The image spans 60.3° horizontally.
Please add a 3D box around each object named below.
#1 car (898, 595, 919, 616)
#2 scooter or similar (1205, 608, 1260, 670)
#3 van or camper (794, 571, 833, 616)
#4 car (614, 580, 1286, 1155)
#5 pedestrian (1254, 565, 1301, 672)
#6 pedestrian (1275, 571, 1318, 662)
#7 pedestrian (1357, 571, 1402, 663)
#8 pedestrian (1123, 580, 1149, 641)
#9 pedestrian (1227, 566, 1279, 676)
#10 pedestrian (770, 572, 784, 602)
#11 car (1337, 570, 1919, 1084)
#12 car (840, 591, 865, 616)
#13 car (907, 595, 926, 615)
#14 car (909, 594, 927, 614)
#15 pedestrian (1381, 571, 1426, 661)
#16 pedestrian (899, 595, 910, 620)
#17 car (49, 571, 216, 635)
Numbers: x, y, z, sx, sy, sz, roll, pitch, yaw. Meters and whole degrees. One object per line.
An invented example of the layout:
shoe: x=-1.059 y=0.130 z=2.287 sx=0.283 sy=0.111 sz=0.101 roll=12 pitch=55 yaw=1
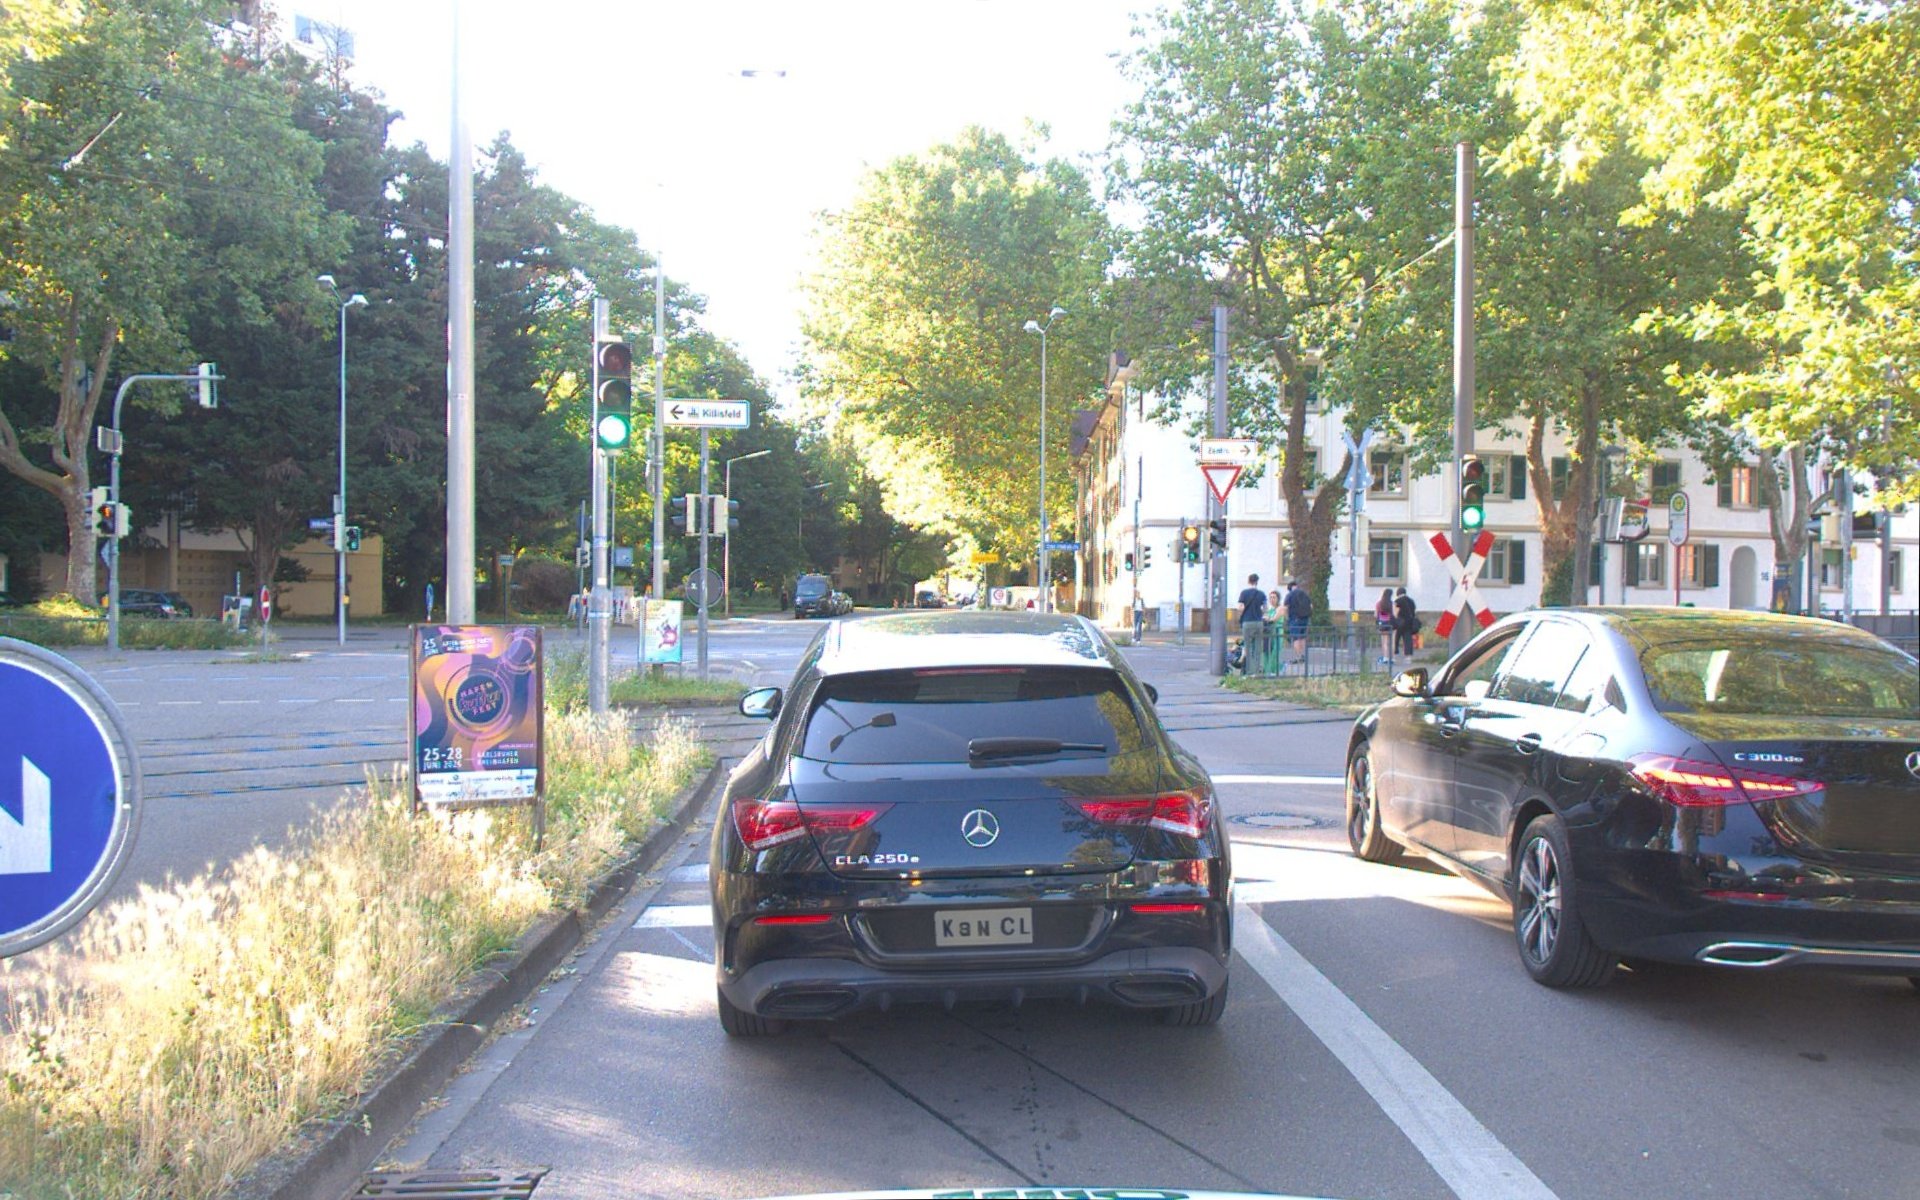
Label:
car: x=-4.522 y=0.503 z=145.454 sx=1.698 sy=1.796 sz=4.018 roll=1 pitch=0 yaw=-1
scooter or similar: x=5.071 y=0.713 z=30.767 sx=0.812 sy=1.124 sz=0.808 roll=1 pitch=-1 yaw=-6
van or camper: x=-8.789 y=-0.383 z=99.578 sx=1.953 sy=2.586 sz=4.650 roll=1 pitch=0 yaw=-1
car: x=-0.010 y=0.726 z=6.619 sx=1.851 sy=1.475 sz=4.001 roll=1 pitch=2 yaw=0
pedestrian: x=5.885 y=0.335 z=30.722 sx=0.669 sy=1.951 sz=0.706 roll=1 pitch=-1 yaw=-5
pedestrian: x=7.312 y=0.351 z=35.955 sx=0.691 sy=1.951 sz=0.838 roll=1 pitch=-1 yaw=-4
pedestrian: x=9.067 y=0.365 z=35.767 sx=0.691 sy=1.951 sz=0.838 roll=1 pitch=-1 yaw=-4
pedestrian: x=5.713 y=0.343 z=53.741 sx=0.691 sy=1.951 sz=0.838 roll=1 pitch=-1 yaw=-4
pedestrian: x=5.289 y=0.374 z=29.881 sx=0.693 sy=1.951 sz=0.682 roll=1 pitch=-1 yaw=-16
pedestrian: x=-11.959 y=-0.830 z=108.126 sx=0.690 sy=1.951 sz=0.839 roll=1 pitch=-1 yaw=5
car: x=3.137 y=0.687 z=7.378 sx=1.851 sy=1.516 sz=4.382 roll=1 pitch=2 yaw=0
car: x=-8.174 y=0.276 z=126.241 sx=1.698 sy=1.796 sz=3.970 roll=1 pitch=0 yaw=-1
car: x=-3.947 y=0.477 z=150.283 sx=1.698 sy=1.796 sz=4.018 roll=1 pitch=0 yaw=-1
car: x=-3.995 y=0.375 z=158.367 sx=1.698 sy=1.796 sz=4.018 roll=1 pitch=0 yaw=-1
pedestrian: x=9.857 y=0.353 z=36.779 sx=0.691 sy=1.951 sz=0.838 roll=1 pitch=-1 yaw=-4
pedestrian: x=-4.359 y=0.592 z=129.918 sx=0.692 sy=1.951 sz=0.837 roll=1 pitch=-1 yaw=-11
car: x=-24.378 y=0.086 z=48.816 sx=3.902 sy=1.805 sz=2.001 roll=1 pitch=0 yaw=7
